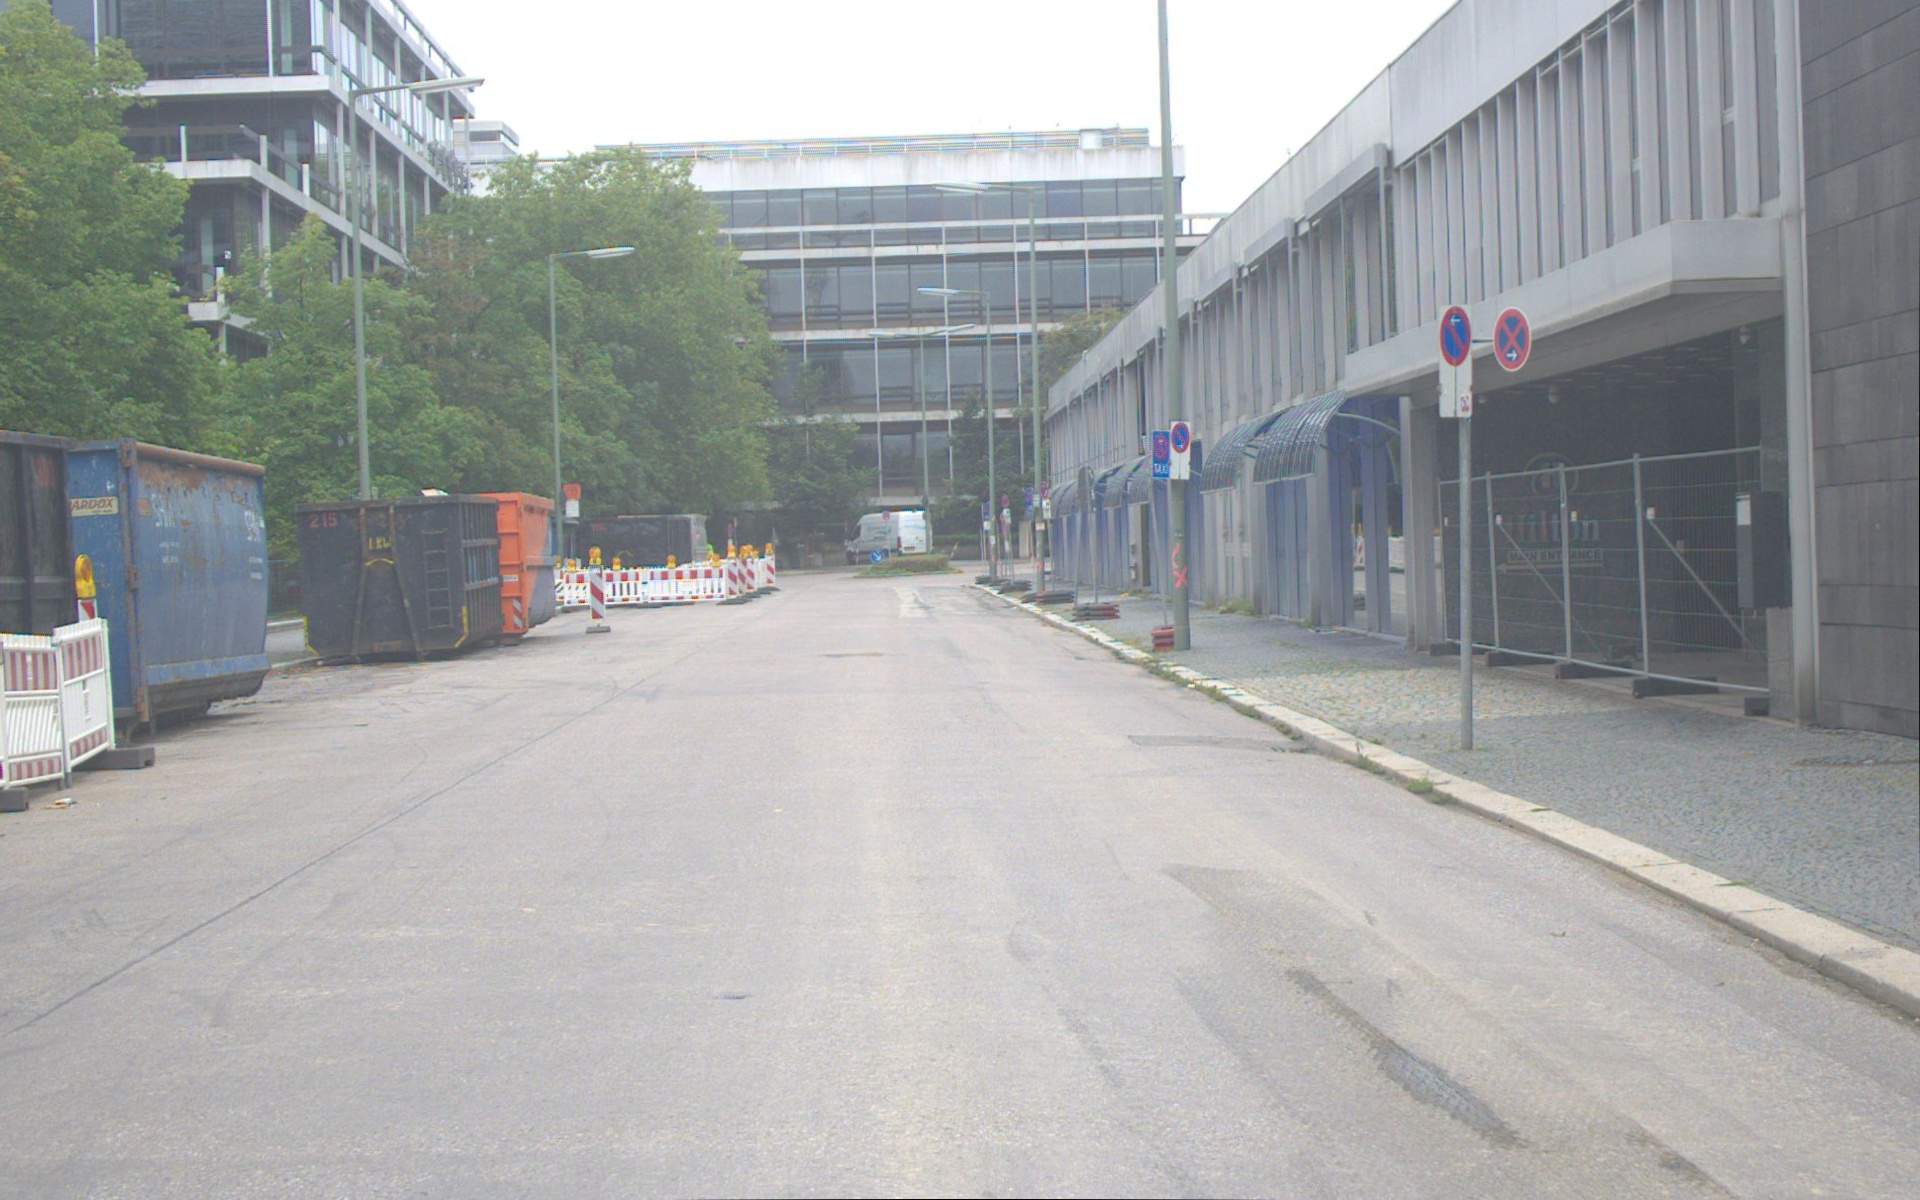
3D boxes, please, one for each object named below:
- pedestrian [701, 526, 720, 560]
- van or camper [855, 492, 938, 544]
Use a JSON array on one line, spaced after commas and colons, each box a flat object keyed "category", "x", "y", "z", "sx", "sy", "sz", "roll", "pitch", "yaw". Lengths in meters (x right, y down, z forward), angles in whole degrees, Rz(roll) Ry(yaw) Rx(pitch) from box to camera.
[{"category": "pedestrian", "x": -12.440, "y": -2.846, "z": 171.184, "sx": 0.741, "sy": 1.671, "sz": 0.682, "roll": -2, "pitch": 1, "yaw": -20}, {"category": "van or camper", "x": -3.203, "y": -4.096, "z": 172.341, "sx": 2.085, "sy": 2.483, "sz": 5.068, "roll": -2, "pitch": 1, "yaw": -27}]
